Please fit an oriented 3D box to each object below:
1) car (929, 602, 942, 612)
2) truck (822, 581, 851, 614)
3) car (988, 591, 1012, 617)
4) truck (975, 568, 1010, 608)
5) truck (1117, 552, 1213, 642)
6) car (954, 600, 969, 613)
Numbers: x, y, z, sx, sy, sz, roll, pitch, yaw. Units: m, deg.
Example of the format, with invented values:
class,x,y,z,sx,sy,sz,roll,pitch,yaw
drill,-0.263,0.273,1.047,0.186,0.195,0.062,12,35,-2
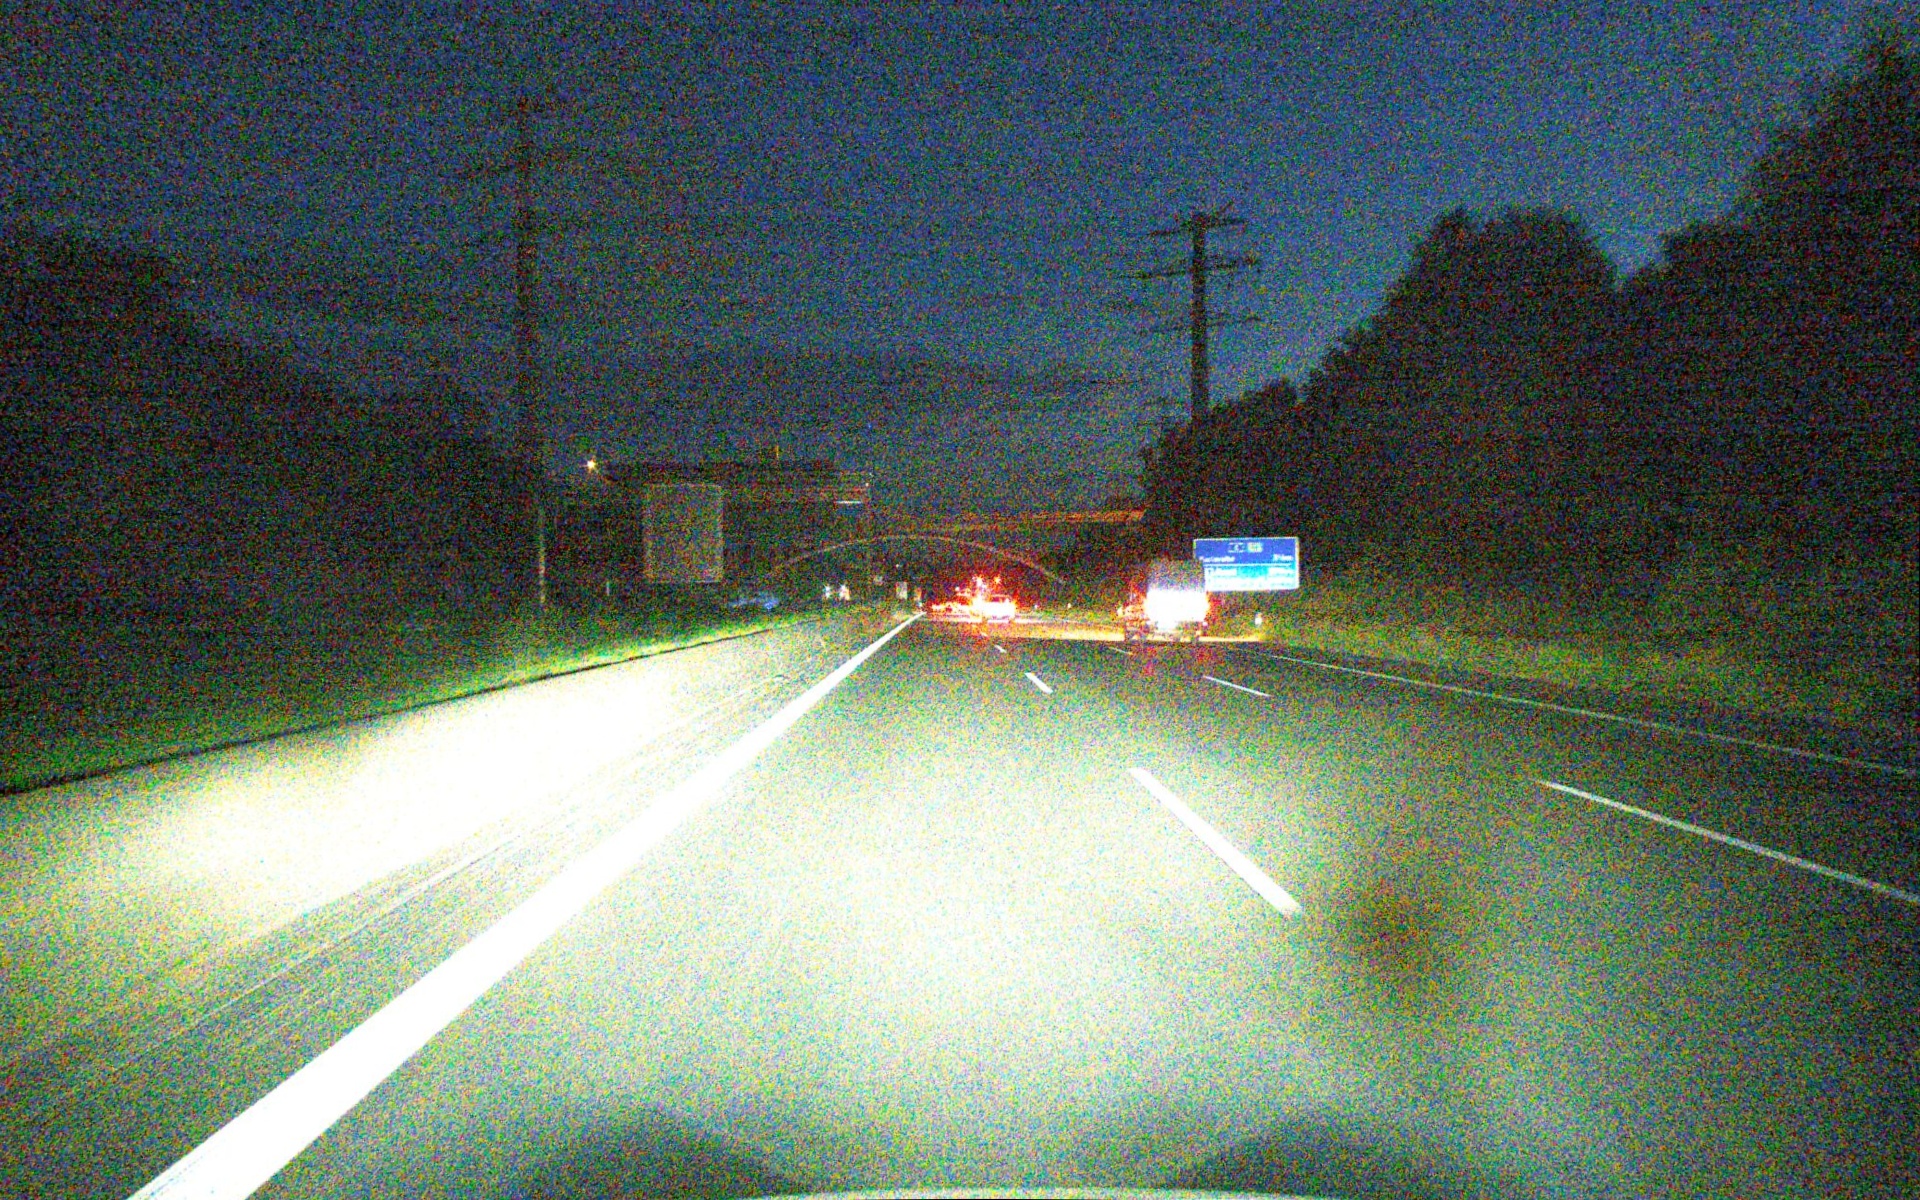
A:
class,x,y,z,sx,sy,sz,roll,pitch,yaw
car,-3.763,1.065,253.117,1.783,1.491,4.248,1,1,0
truck,-18.731,-0.507,251.562,3.180,4.567,17.438,1,1,0
car,2.275,0.227,94.757,1.318,1.411,3.502,1,1,0
truck,2.929,-1.153,151.277,2.982,3.382,10.142,1,1,0
truck,6.722,-0.021,54.947,2.035,2.738,7.304,1,-1,-2
car,0.171,0.835,204.116,1.783,1.491,4.248,1,1,0
